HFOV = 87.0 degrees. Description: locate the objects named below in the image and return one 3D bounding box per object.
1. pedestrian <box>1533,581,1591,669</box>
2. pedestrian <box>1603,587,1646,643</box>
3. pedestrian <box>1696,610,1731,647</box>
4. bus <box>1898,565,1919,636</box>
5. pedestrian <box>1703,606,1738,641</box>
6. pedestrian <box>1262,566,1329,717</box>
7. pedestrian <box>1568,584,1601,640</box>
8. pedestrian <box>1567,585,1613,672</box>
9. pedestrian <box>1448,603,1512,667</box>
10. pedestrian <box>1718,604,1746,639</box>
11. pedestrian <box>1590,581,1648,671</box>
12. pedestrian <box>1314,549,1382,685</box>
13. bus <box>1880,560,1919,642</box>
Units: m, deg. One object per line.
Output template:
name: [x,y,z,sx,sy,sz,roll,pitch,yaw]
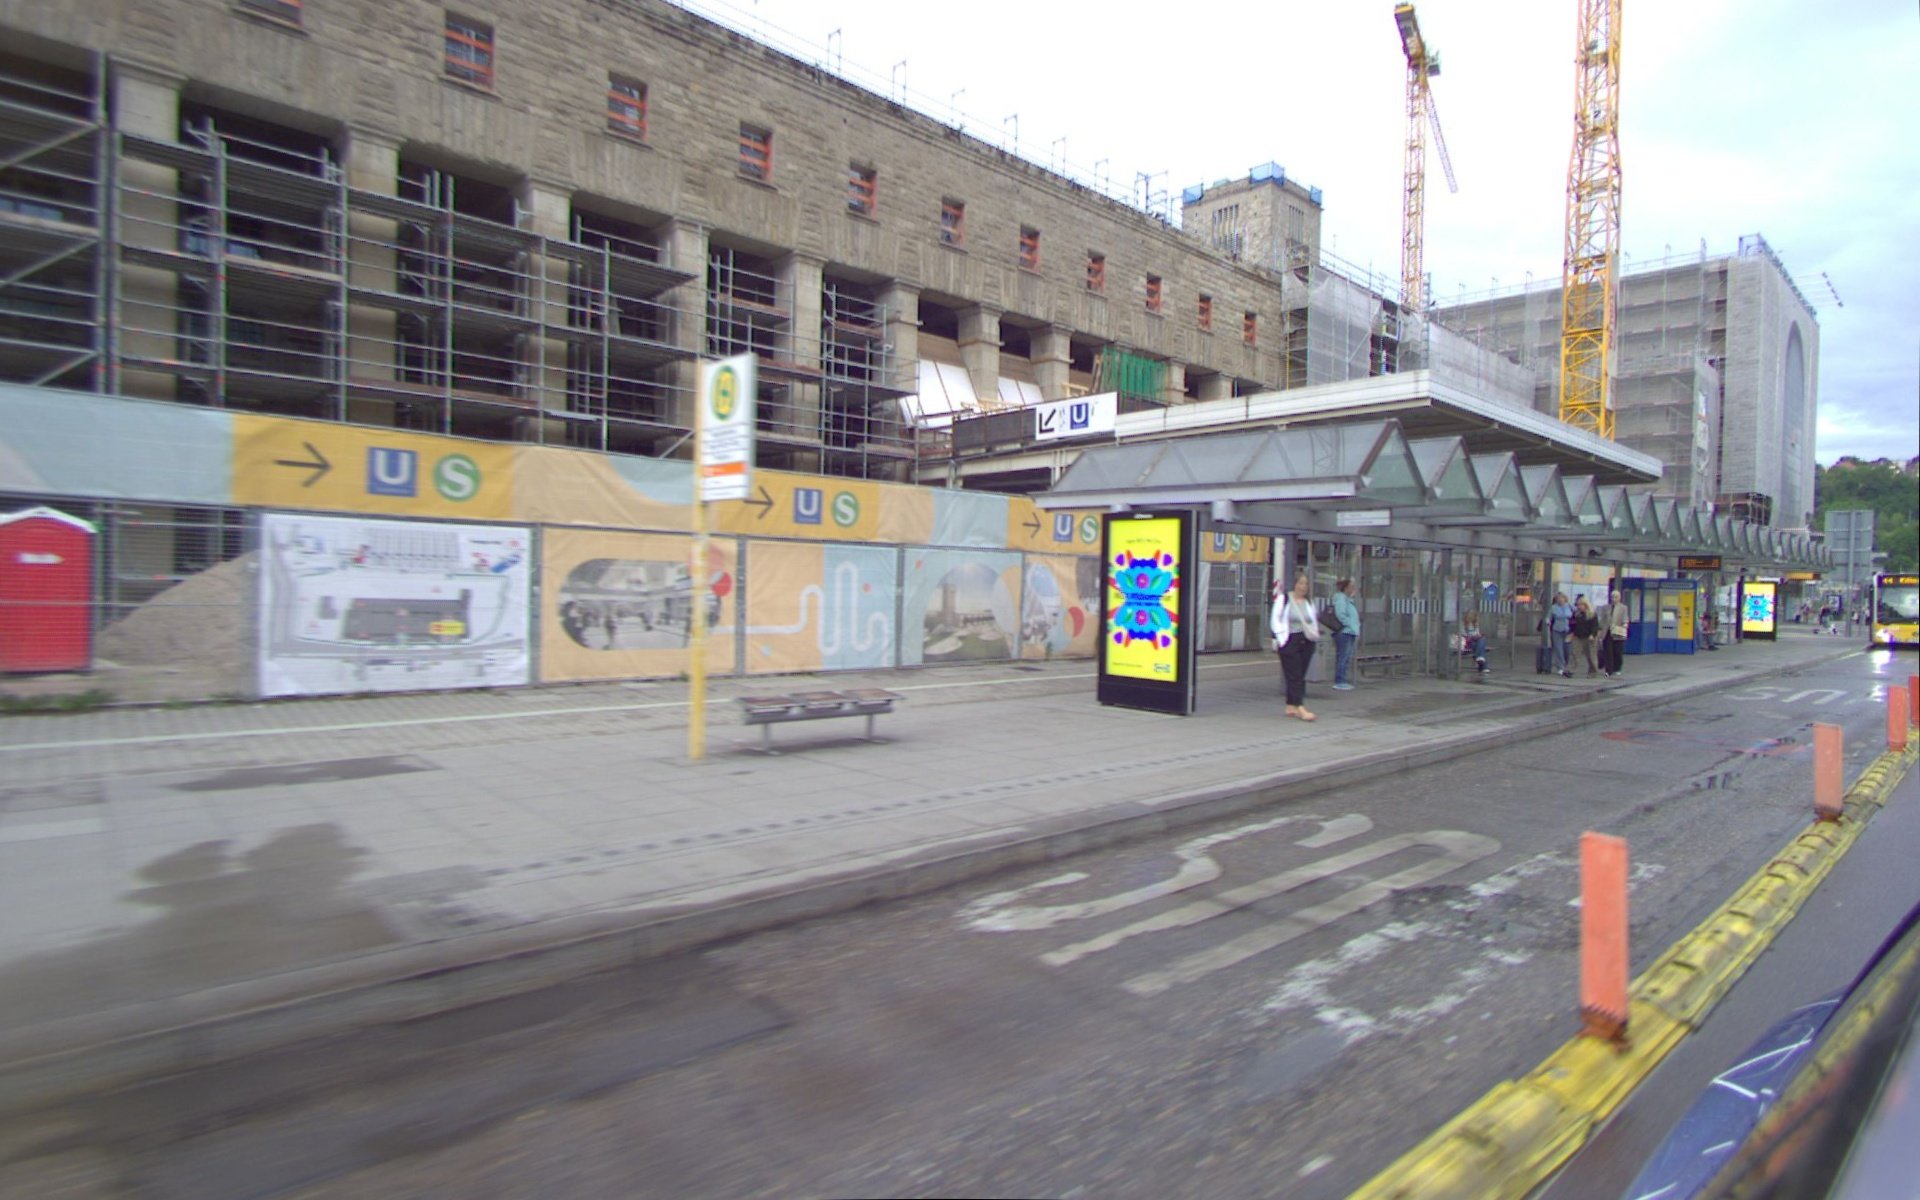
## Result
pedestrian: [11.892,0.480,19.992,0.791,1.681,0.809,1,0,-43]
pedestrian: [19.511,0.428,29.712,0.732,1.627,0.907,1,-1,-42]
pedestrian: [23.583,0.882,31.678,0.697,1.078,0.728,1,1,-43]
bus: [45.782,-0.005,46.999,8.929,3.107,2.757,0,0,-44]
pedestrian: [24.192,0.744,32.202,0.795,1.078,0.728,1,1,-43]
pedestrian: [3.986,0.464,12.001,0.695,1.700,0.718,2,1,21]
pedestrian: [18.626,0.339,30.165,0.705,1.627,0.719,3,2,38]
pedestrian: [11.831,0.525,19.004,0.716,1.585,0.521,1,1,-43]
pedestrian: [10.364,0.680,20.157,0.826,1.246,0.914,1,-1,-43]
pedestrian: [27.765,0.758,36.401,0.655,1.201,0.665,1,1,-43]
pedestrian: [13.008,0.488,19.981,0.808,1.714,0.763,1,1,-43]
pedestrian: [6.087,0.253,15.918,0.791,2.076,0.925,0,0,7]
bus: [39.372,0.018,40.814,8.843,3.104,2.757,0,0,-44]
